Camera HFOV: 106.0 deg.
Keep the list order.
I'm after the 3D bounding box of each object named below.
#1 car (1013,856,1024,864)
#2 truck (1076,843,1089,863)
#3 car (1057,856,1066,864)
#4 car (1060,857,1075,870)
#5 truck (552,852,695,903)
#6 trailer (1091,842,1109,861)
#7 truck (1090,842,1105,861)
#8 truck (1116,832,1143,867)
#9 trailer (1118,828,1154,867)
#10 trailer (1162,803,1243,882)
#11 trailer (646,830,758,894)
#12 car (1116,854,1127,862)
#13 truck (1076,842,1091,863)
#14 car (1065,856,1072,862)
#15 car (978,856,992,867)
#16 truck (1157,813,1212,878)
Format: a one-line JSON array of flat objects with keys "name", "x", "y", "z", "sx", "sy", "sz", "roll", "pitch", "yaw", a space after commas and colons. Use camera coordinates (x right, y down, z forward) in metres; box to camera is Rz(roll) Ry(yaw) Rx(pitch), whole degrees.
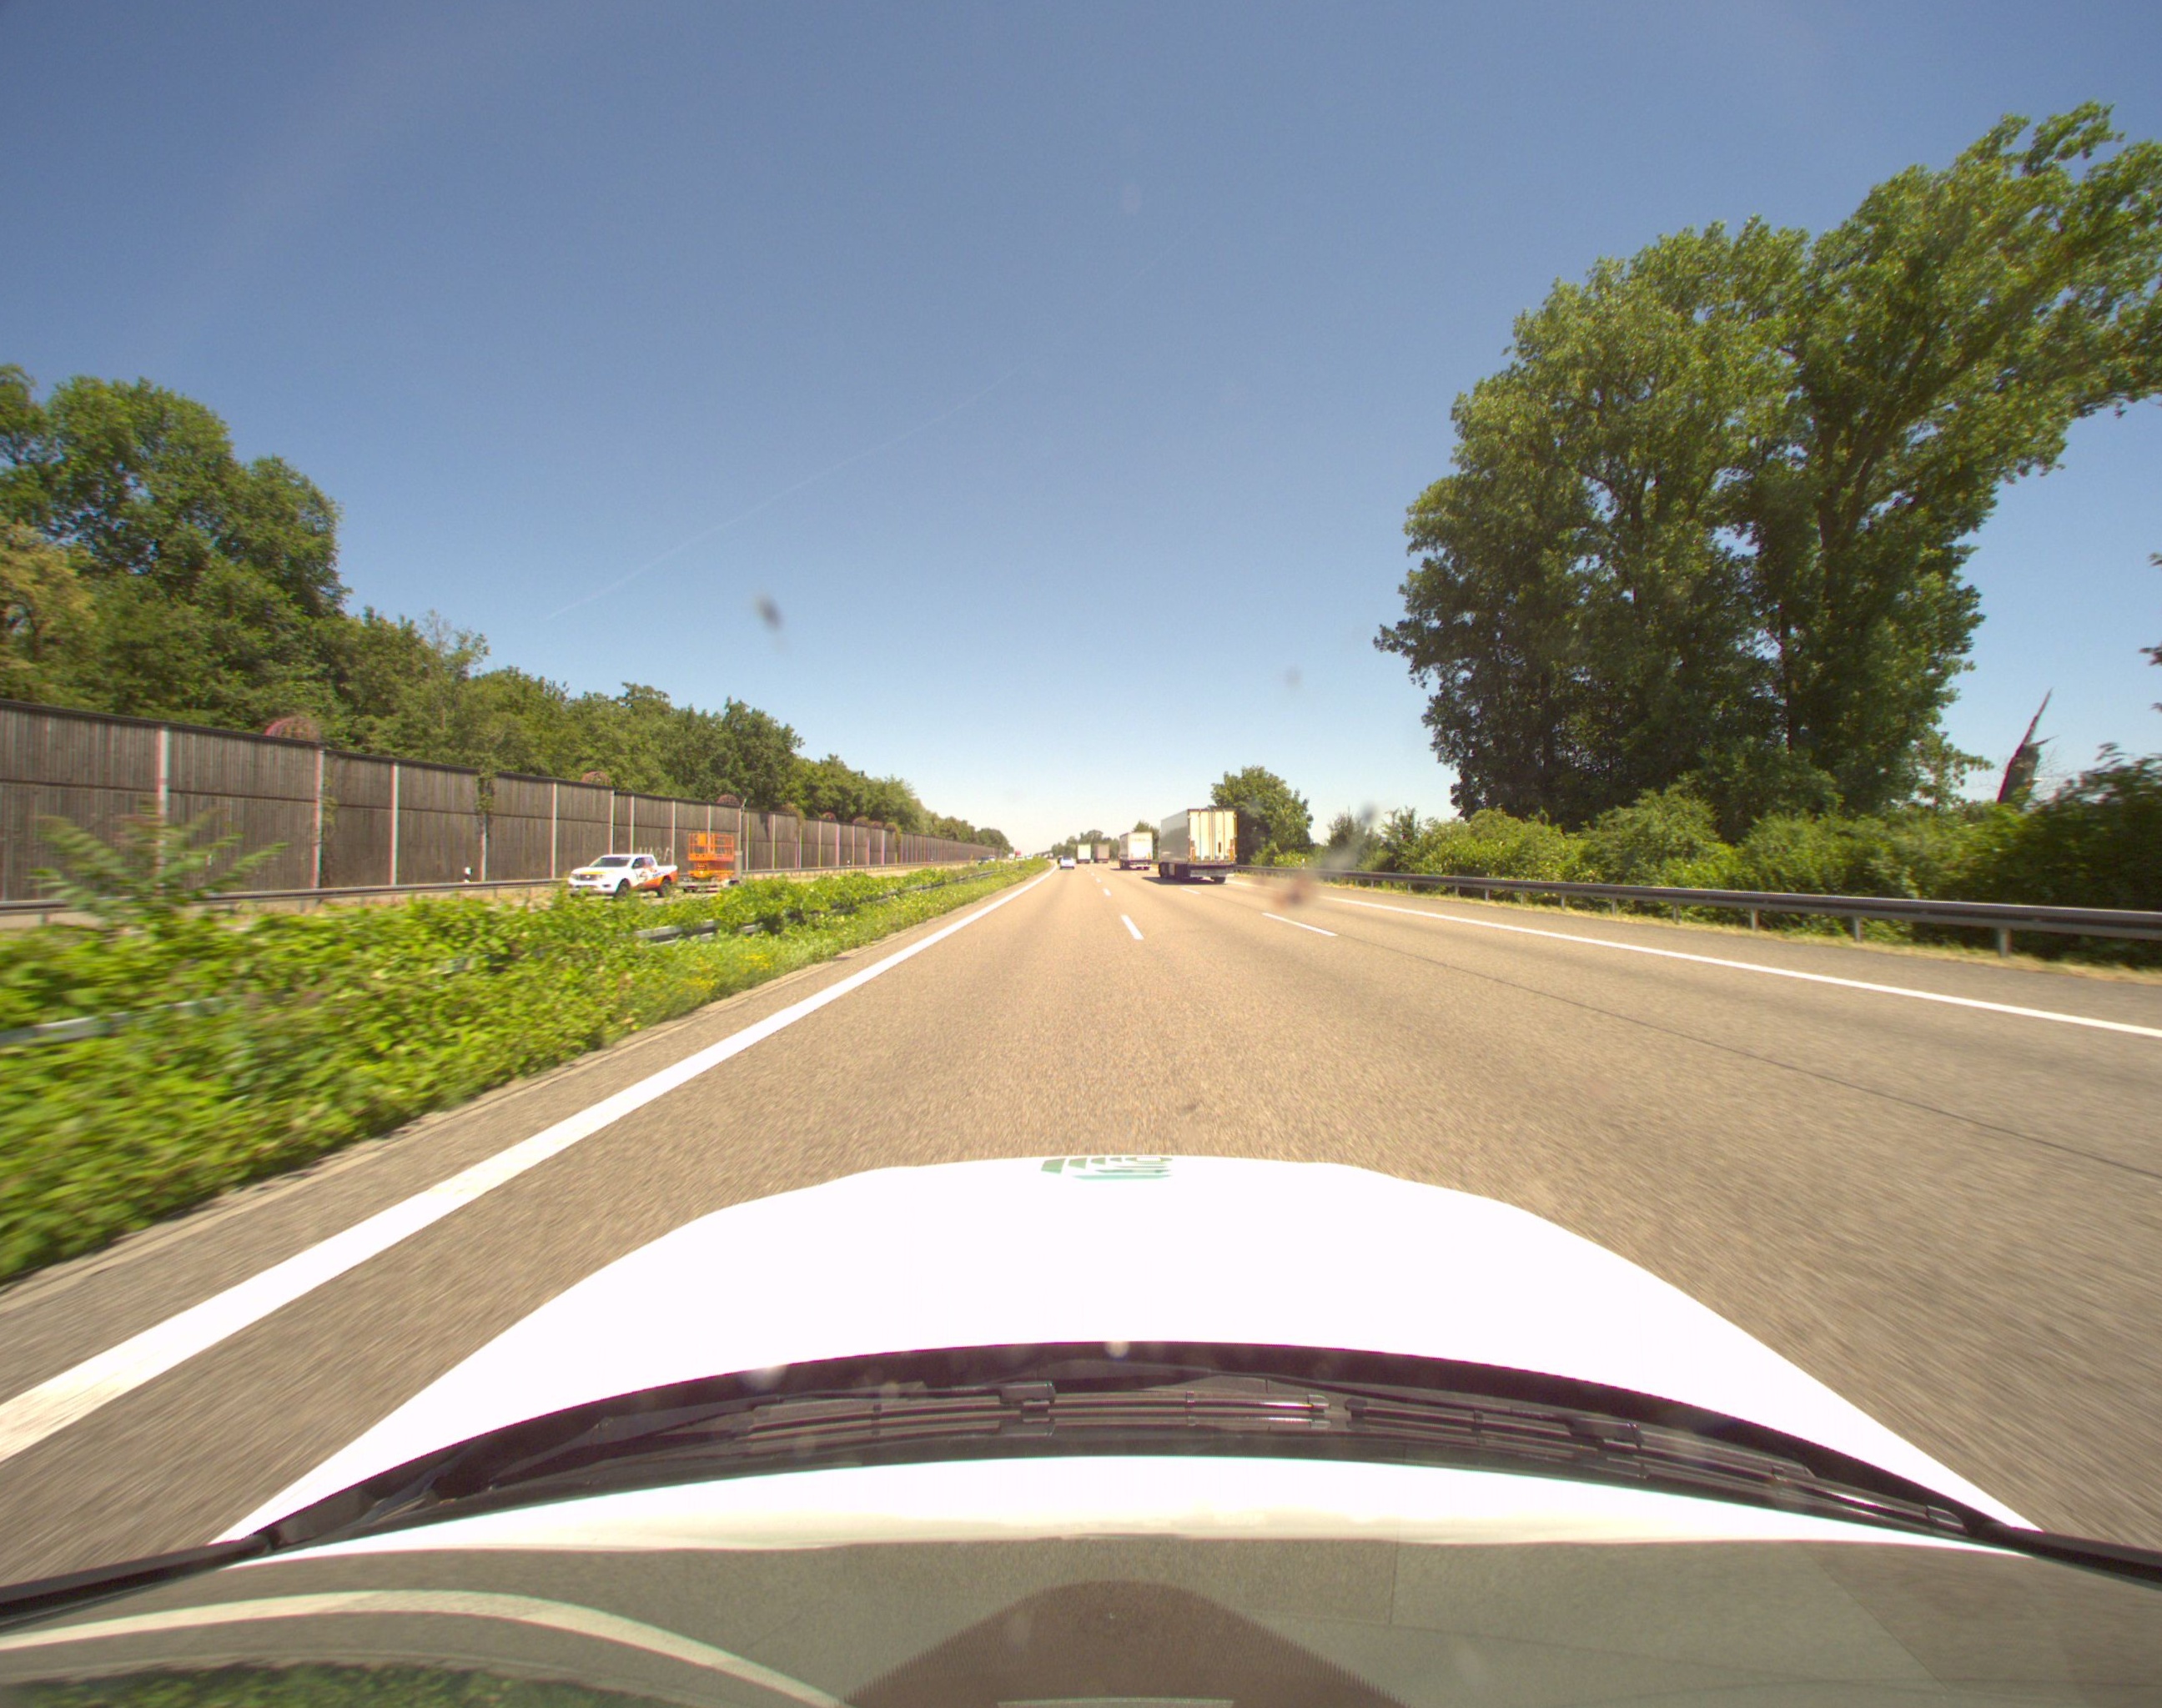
[{"name": "car", "x": -12.685, "y": 1.284, "z": 166.325, "sx": 1.988, "sy": 1.647, "sz": 5.041, "roll": -1, "pitch": 0, "yaw": -2}, {"name": "truck", "x": 0.278, "y": -0.141, "z": 176.358, "sx": 2.720, "sy": 4.086, "sz": 7.272, "roll": 1, "pitch": -1, "yaw": -2}, {"name": "car", "x": -3.921, "y": 1.230, "z": 165.099, "sx": 1.849, "sy": 1.617, "sz": 3.999, "roll": 0, "pitch": 0, "yaw": -1}, {"name": "car", "x": -1.712, "y": 1.166, "z": 101.725, "sx": 1.849, "sy": 1.486, "sz": 3.999, "roll": 0, "pitch": 0, "yaw": -1}, {"name": "truck", "x": -17.883, "y": 0.838, "z": 32.329, "sx": 2.094, "sy": 1.816, "sz": 6.211, "roll": 0, "pitch": 0, "yaw": 1}, {"name": "trailer", "x": 4.347, "y": -0.529, "z": 185.152, "sx": 2.699, "sy": 4.216, "sz": 13.188, "roll": 1, "pitch": -1, "yaw": -5}, {"name": "truck", "x": 3.883, "y": -0.490, "z": 190.836, "sx": 2.687, "sy": 4.216, "sz": 7.824, "roll": 1, "pitch": -1, "yaw": -5}, {"name": "truck", "x": 5.861, "y": -0.545, "z": 99.738, "sx": 2.700, "sy": 4.088, "sz": 6.959, "roll": 0, "pitch": -1, "yaw": -2}, {"name": "trailer", "x": 6.094, "y": -0.638, "z": 92.777, "sx": 2.700, "sy": 4.088, "sz": 14.139, "roll": 0, "pitch": 0, "yaw": -2}, {"name": "trailer", "x": 6.954, "y": -0.570, "z": 48.547, "sx": 2.950, "sy": 4.106, "sz": 12.530, "roll": -1, "pitch": 0, "yaw": 0}, {"name": "trailer", "x": -17.810, "y": 0.368, "z": 38.724, "sx": 2.235, "sy": 2.776, "sz": 6.509, "roll": 0, "pitch": 0, "yaw": 0}, {"name": "car", "x": 8.129, "y": 0.883, "z": 164.822, "sx": 1.850, "sy": 1.617, "sz": 3.997, "roll": 0, "pitch": 0, "yaw": -2}, {"name": "truck", "x": 0.482, "y": -0.198, "z": 170.859, "sx": 2.699, "sy": 4.086, "sz": 13.464, "roll": 1, "pitch": -1, "yaw": -1}, {"name": "car", "x": -3.402, "y": 1.428, "z": 225.251, "sx": 1.849, "sy": 1.617, "sz": 3.999, "roll": 0, "pitch": 0, "yaw": -1}, {"name": "car", "x": -15.121, "y": 1.123, "z": 128.002, "sx": 1.990, "sy": 1.647, "sz": 4.684, "roll": -1, "pitch": 0, "yaw": -5}, {"name": "truck", "x": 6.919, "y": -0.544, "z": 55.450, "sx": 2.950, "sy": 4.106, "sz": 6.206, "roll": -1, "pitch": 0, "yaw": 0}]
